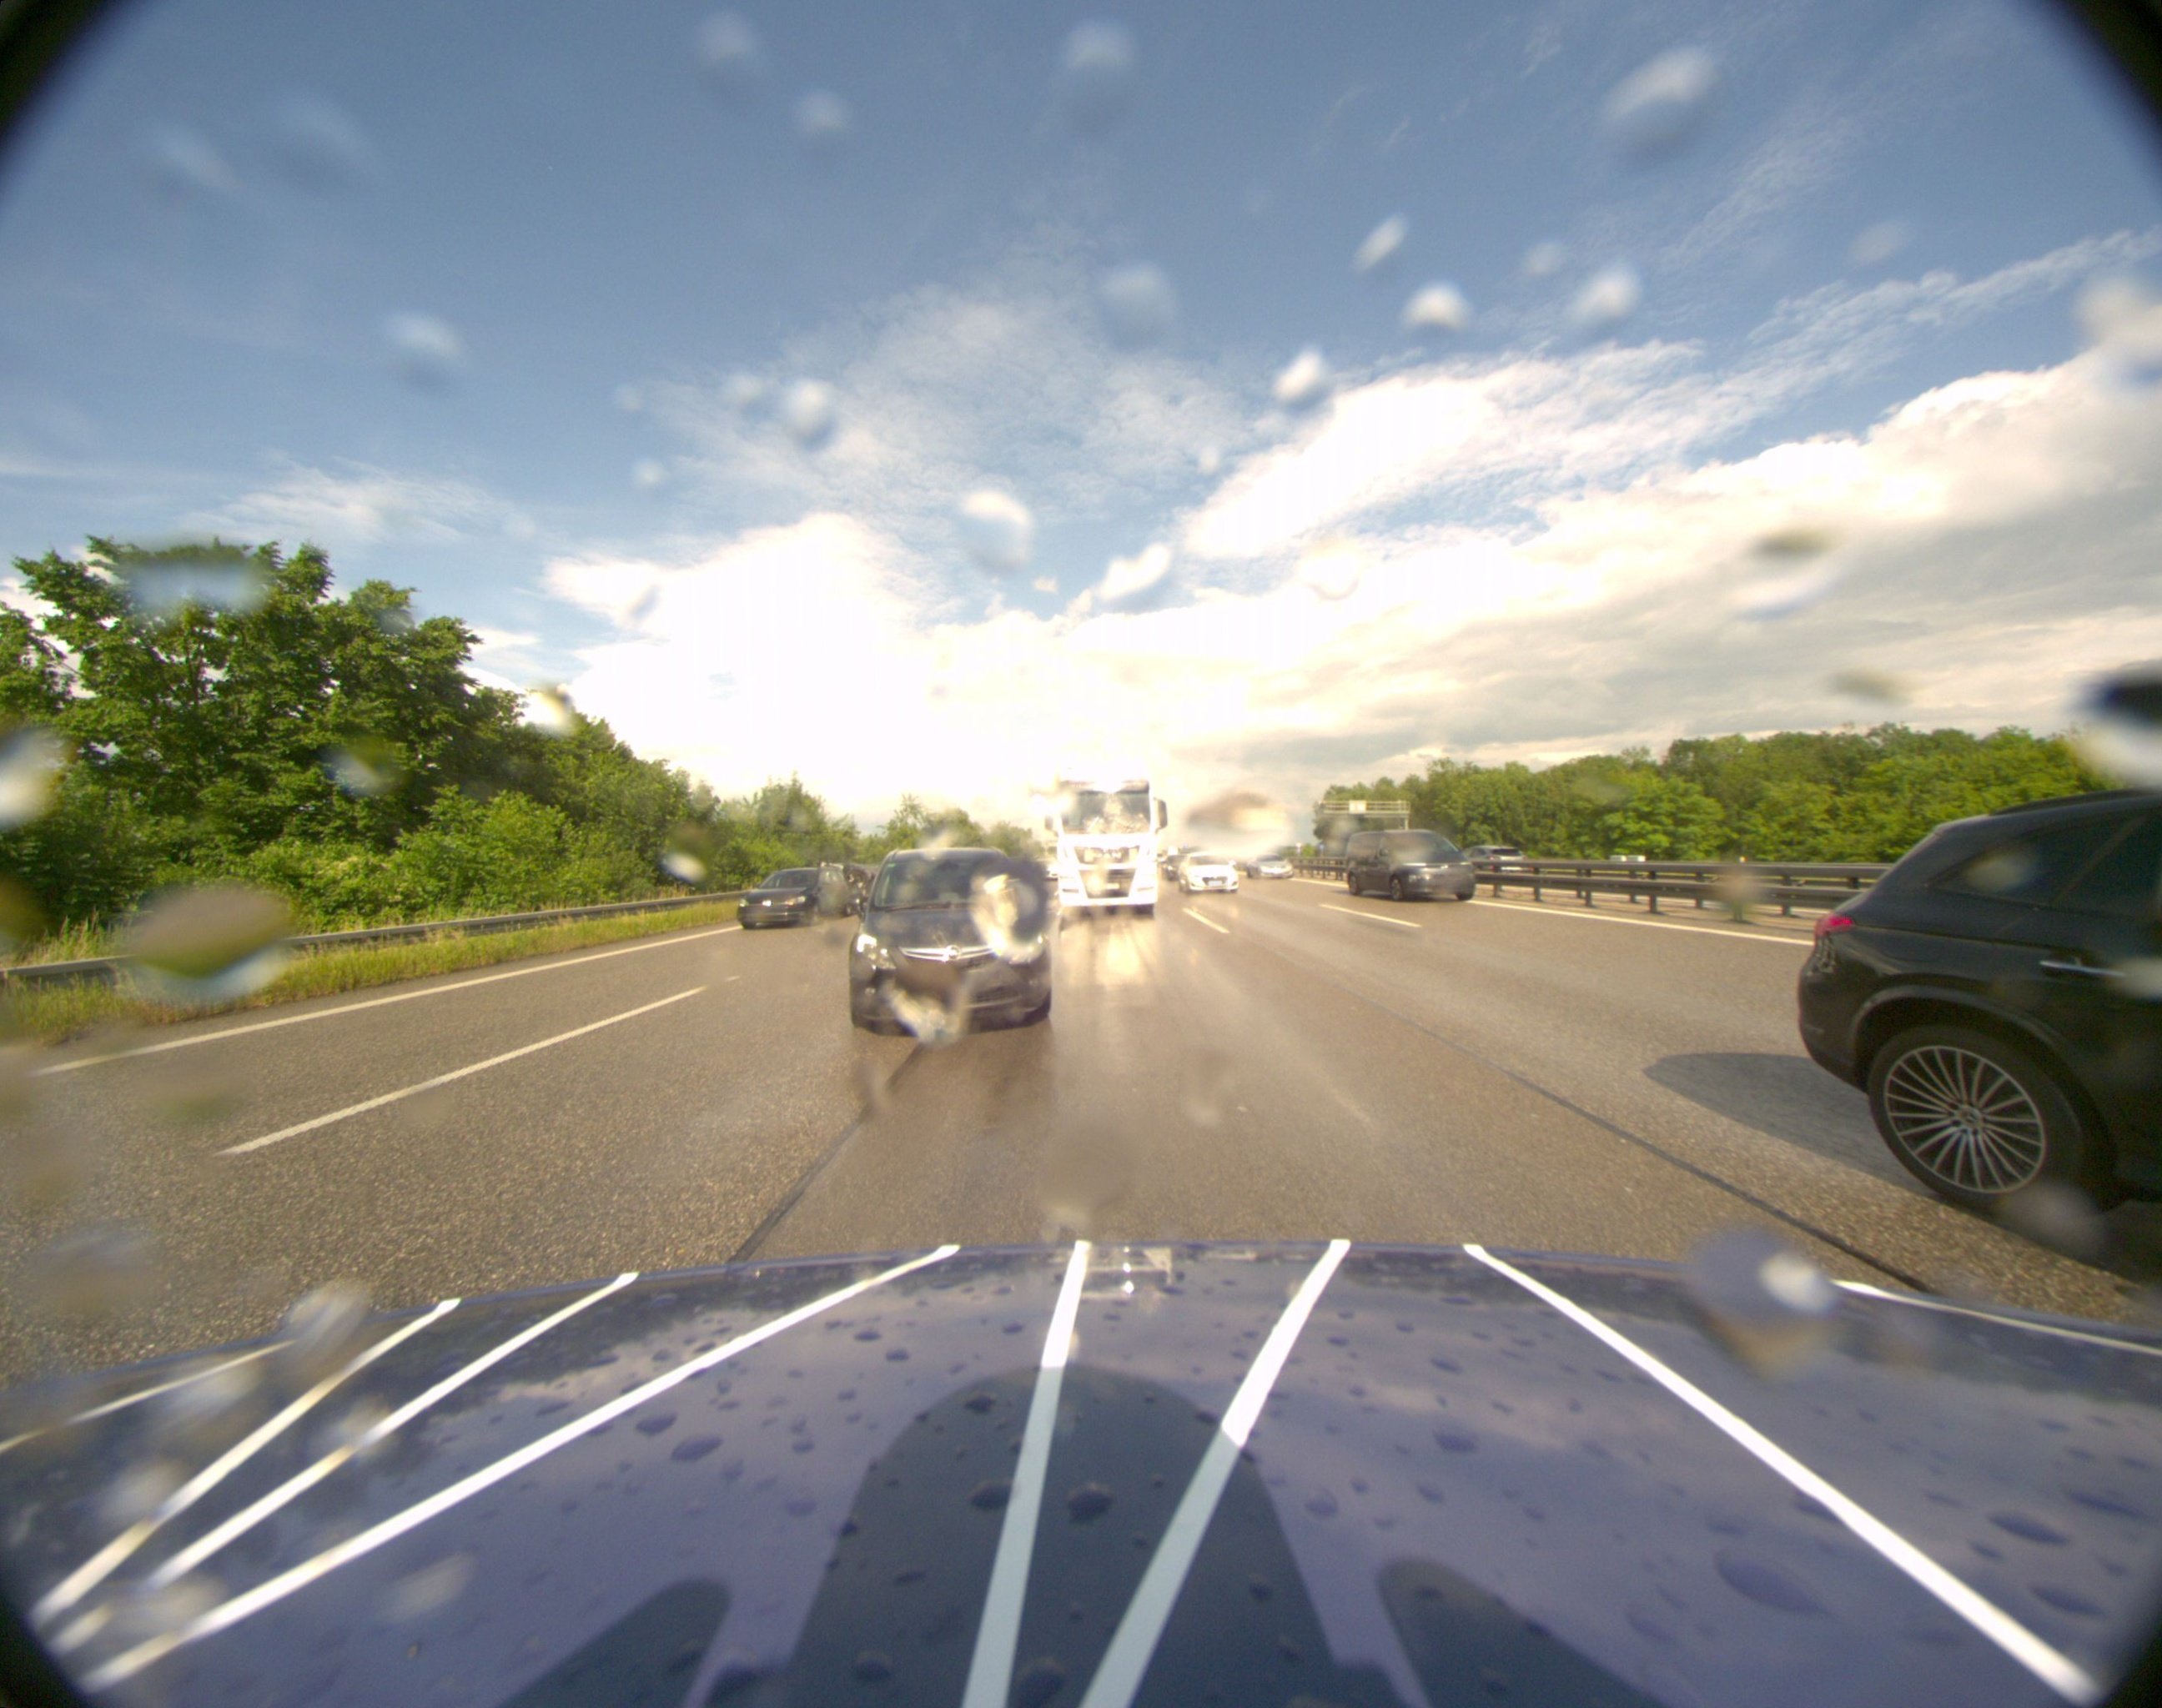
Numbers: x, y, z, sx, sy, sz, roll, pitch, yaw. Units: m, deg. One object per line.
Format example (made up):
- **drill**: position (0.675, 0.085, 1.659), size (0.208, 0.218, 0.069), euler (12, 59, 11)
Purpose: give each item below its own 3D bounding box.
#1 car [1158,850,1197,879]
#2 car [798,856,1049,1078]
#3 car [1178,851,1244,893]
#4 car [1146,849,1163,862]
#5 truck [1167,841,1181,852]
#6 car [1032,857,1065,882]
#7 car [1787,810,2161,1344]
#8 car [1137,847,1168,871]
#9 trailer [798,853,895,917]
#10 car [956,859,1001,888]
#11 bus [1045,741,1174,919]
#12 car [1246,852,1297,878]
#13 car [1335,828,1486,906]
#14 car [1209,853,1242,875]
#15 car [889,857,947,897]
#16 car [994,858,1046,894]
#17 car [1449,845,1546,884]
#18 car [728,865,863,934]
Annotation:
- **car**: position (5.182, 0.531, 41.088), size (1.597, 1.390, 3.999), euler (-2, 0, 0)
- **car**: position (-1.503, 0.863, 8.245), size (1.859, 1.622, 4.732), euler (-2, 0, -7)
- **car**: position (4.700, 0.618, 28.035), size (1.809, 1.389, 4.240), euler (-1, 0, 1)
- **car**: position (10.109, 0.210, 104.488), size (1.900, 1.740, 3.999), euler (-2, 1, 0)
- **truck**: position (27.315, -2.141, 223.315), size (2.923, 2.970, 8.721), euler (-2, 1, 0)
- **car**: position (-2.005, 0.923, 47.310), size (1.858, 1.434, 3.999), euler (-2, 1, 0)
- **car**: position (4.272, 0.676, 1.291), size (1.881, 1.669, 4.626), euler (-2, 0, 1)
- **car**: position (5.416, 0.348, 57.923), size (1.889, 1.707, 3.999), euler (-2, 1, 0)
- **trailer**: position (-7.231, 0.884, 23.838), size (1.810, 1.736, 3.967), euler (-3, 1, -1)
- **car**: position (-5.547, 1.032, 41.659), size (1.771, 1.343, 4.580), euler (-2, 0, 1)
- **bus**: position (0.756, -0.582, 22.875), size (2.904, 4.104, 9.845), euler (-2, 0, 1)
- **car**: position (9.677, 0.546, 38.841), size (1.857, 1.182, 3.583), euler (-2, 0, 2)
- **car**: position (9.125, 0.303, 21.626), size (1.998, 1.906, 5.235), euler (-2, 0, 0)
- **car**: position (10.056, 0.649, 53.119), size (1.618, 1.412, 4.000), euler (-2, 0, 1)
- **car**: position (-6.657, 0.906, 31.305), size (1.616, 1.480, 3.480), euler (-2, 1, 0)
- **car**: position (-2.533, 0.904, 32.408), size (1.744, 1.357, 4.000), euler (-2, 0, 1)
- **car**: position (16.589, 0.384, 30.455), size (1.850, 1.443, 3.632), euler (-2, 0, -1)
- **car**: position (-7.182, 1.080, 19.645), size (1.747, 1.422, 4.404), euler (-2, 0, 0)
